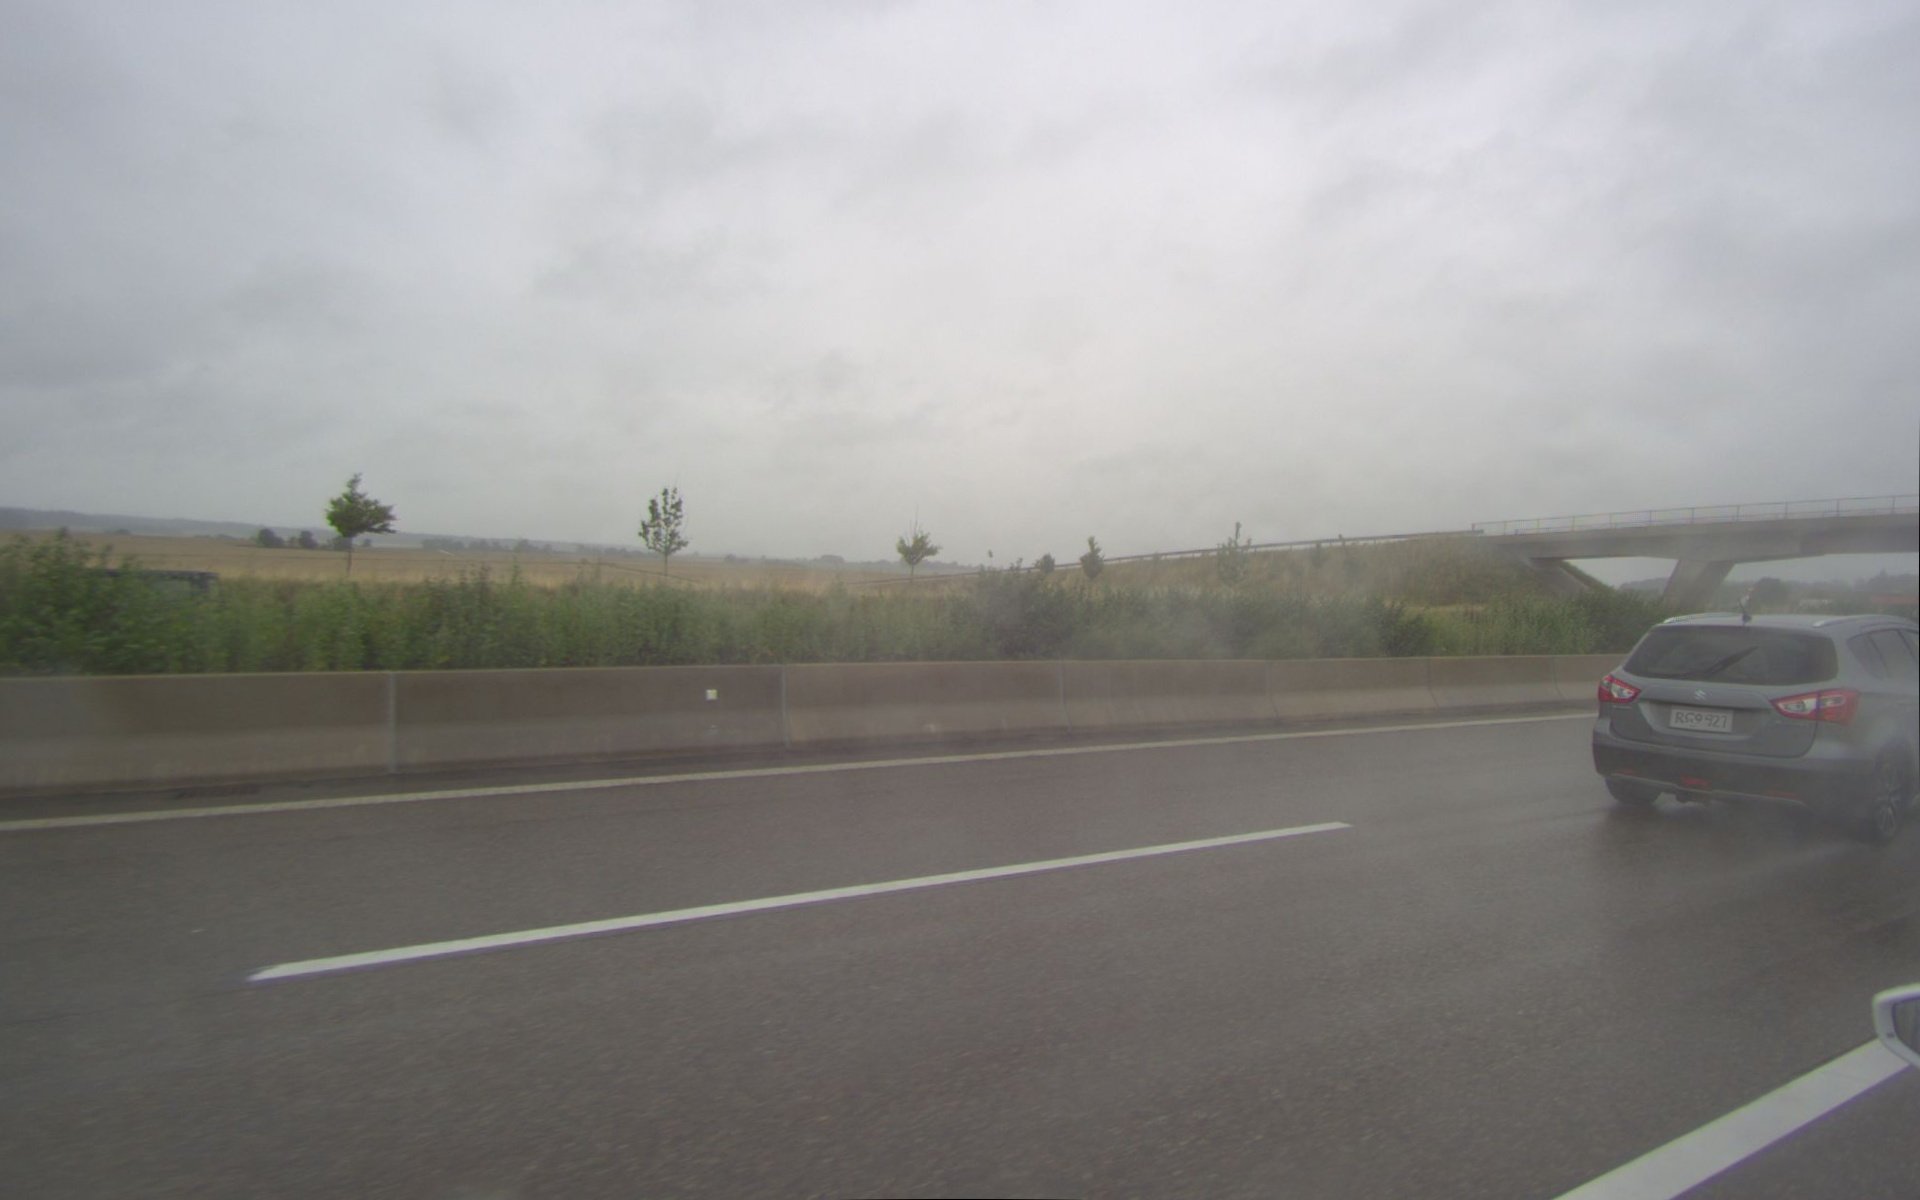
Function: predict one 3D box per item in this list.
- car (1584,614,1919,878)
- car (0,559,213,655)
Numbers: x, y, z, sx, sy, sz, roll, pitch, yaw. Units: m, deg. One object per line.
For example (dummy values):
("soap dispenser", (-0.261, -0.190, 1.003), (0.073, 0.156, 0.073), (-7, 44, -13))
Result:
("car", (7.141, 0.916, 8.000), (4.704, 1.533, 1.836), (1, 0, -32))
("car", (-15.158, 0.096, 16.893), (3.956, 1.506, 1.982), (2, 0, -32))
